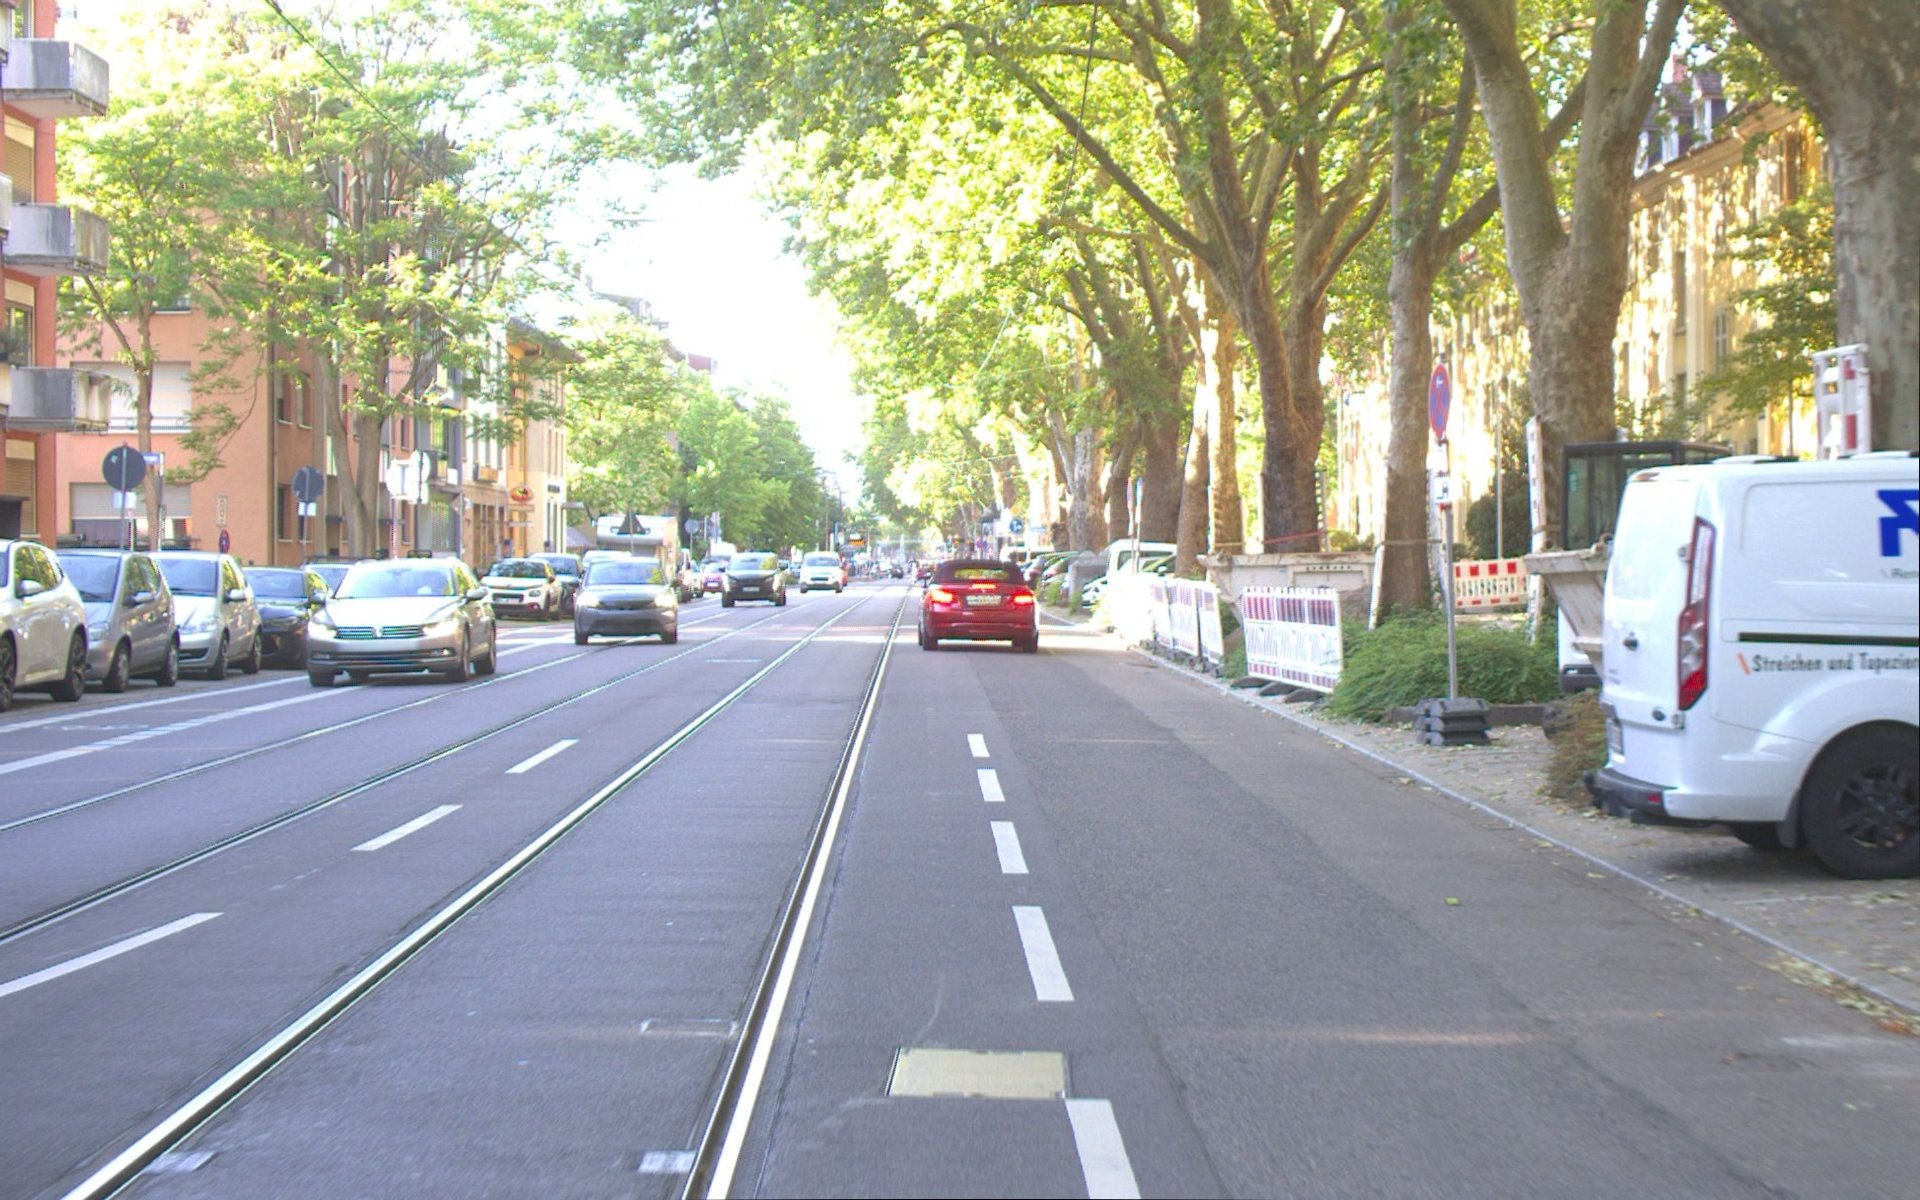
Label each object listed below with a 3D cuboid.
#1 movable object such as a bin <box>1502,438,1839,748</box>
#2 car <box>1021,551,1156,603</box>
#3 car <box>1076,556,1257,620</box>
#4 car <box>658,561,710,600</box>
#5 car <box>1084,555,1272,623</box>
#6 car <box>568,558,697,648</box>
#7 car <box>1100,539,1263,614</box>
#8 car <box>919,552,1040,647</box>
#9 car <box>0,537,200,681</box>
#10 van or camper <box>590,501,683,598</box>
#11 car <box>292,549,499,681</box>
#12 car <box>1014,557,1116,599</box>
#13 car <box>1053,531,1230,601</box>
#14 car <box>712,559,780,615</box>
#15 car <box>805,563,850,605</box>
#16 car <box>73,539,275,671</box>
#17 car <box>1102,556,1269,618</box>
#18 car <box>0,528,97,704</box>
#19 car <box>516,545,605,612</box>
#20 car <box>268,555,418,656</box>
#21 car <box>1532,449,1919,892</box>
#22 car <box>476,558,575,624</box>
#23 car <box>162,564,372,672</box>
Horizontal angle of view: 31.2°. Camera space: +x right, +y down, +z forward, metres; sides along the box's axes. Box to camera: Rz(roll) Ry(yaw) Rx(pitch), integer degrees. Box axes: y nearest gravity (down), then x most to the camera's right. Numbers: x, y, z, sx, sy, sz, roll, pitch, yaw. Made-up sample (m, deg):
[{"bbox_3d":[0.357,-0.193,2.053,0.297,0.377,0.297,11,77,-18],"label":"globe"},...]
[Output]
[{"bbox_3d":[5.596,-0.076,26.865,1.484,2.261,3.270,1,1,33],"label":"movable object such as a bin"},{"bbox_3d":[4.389,-0.789,116.930,4.497,1.596,2.027,-2,0,4],"label":"car"},{"bbox_3d":[5.056,-0.300,84.197,4.371,1.537,1.801,0,1,4],"label":"car"},{"bbox_3d":[-11.097,-0.800,138.619,1.836,1.463,5.070,3,1,-3],"label":"car"},{"bbox_3d":[4.913,-0.249,77.889,4.087,1.516,1.917,0,0,-1],"label":"car"},{"bbox_3d":[-5.527,0.024,58.356,1.795,1.441,4.053,-1,1,0],"label":"car"},{"bbox_3d":[5.286,-0.557,82.169,3.844,1.766,1.916,0,0,4],"label":"car"},{"bbox_3d":[0.290,-0.039,53.650,1.792,1.384,4.236,1,1,0],"label":"car"},{"bbox_3d":[-9.946,0.088,39.339,1.626,1.566,3.781,0,0,1],"label":"car"},{"bbox_3d":[-10.817,-1.670,115.399,2.337,3.030,6.397,3,1,0],"label":"van or camper"},{"bbox_3d":[-6.688,0.138,41.195,1.795,1.441,4.717,2,1,-2],"label":"car"},{"bbox_3d":[4.166,-0.896,136.939,3.923,1.664,1.961,0,0,-2],"label":"car"},{"bbox_3d":[5.137,-0.962,97.661,4.835,1.956,2.065,0,0,-3],"label":"car"},{"bbox_3d":[-6.537,-0.419,105.345,1.853,1.595,4.464,3,1,-1],"label":"car"},{"bbox_3d":[-5.907,-0.729,153.274,1.891,1.826,4.896,0,1,-1],"label":"car"},{"bbox_3d":[-10.016,0.034,44.076,1.819,1.581,4.006,1,1,-3],"label":"car"},{"bbox_3d":[5.246,-0.316,80.209,3.844,1.428,1.851,0,0,4],"label":"car"},{"bbox_3d":[-9.969,0.113,33.546,1.952,1.643,4.882,2,0,-2],"label":"car"},{"bbox_3d":[-10.241,-0.565,88.382,1.781,1.605,4.588,3,1,-2],"label":"car"},{"bbox_3d":[-9.794,0.062,54.814,1.725,1.478,3.930,2,1,-2],"label":"car"},{"bbox_3d":[5.380,0.291,16.700,4.834,2.006,2.064,0,1,0],"label":"car"},{"bbox_3d":[-10.470,-0.224,83.034,1.806,1.473,4.090,2,0,0],"label":"car"},{"bbox_3d":[-9.878,0.219,49.402,1.952,1.390,4.863,3,1,0],"label":"car"}]
